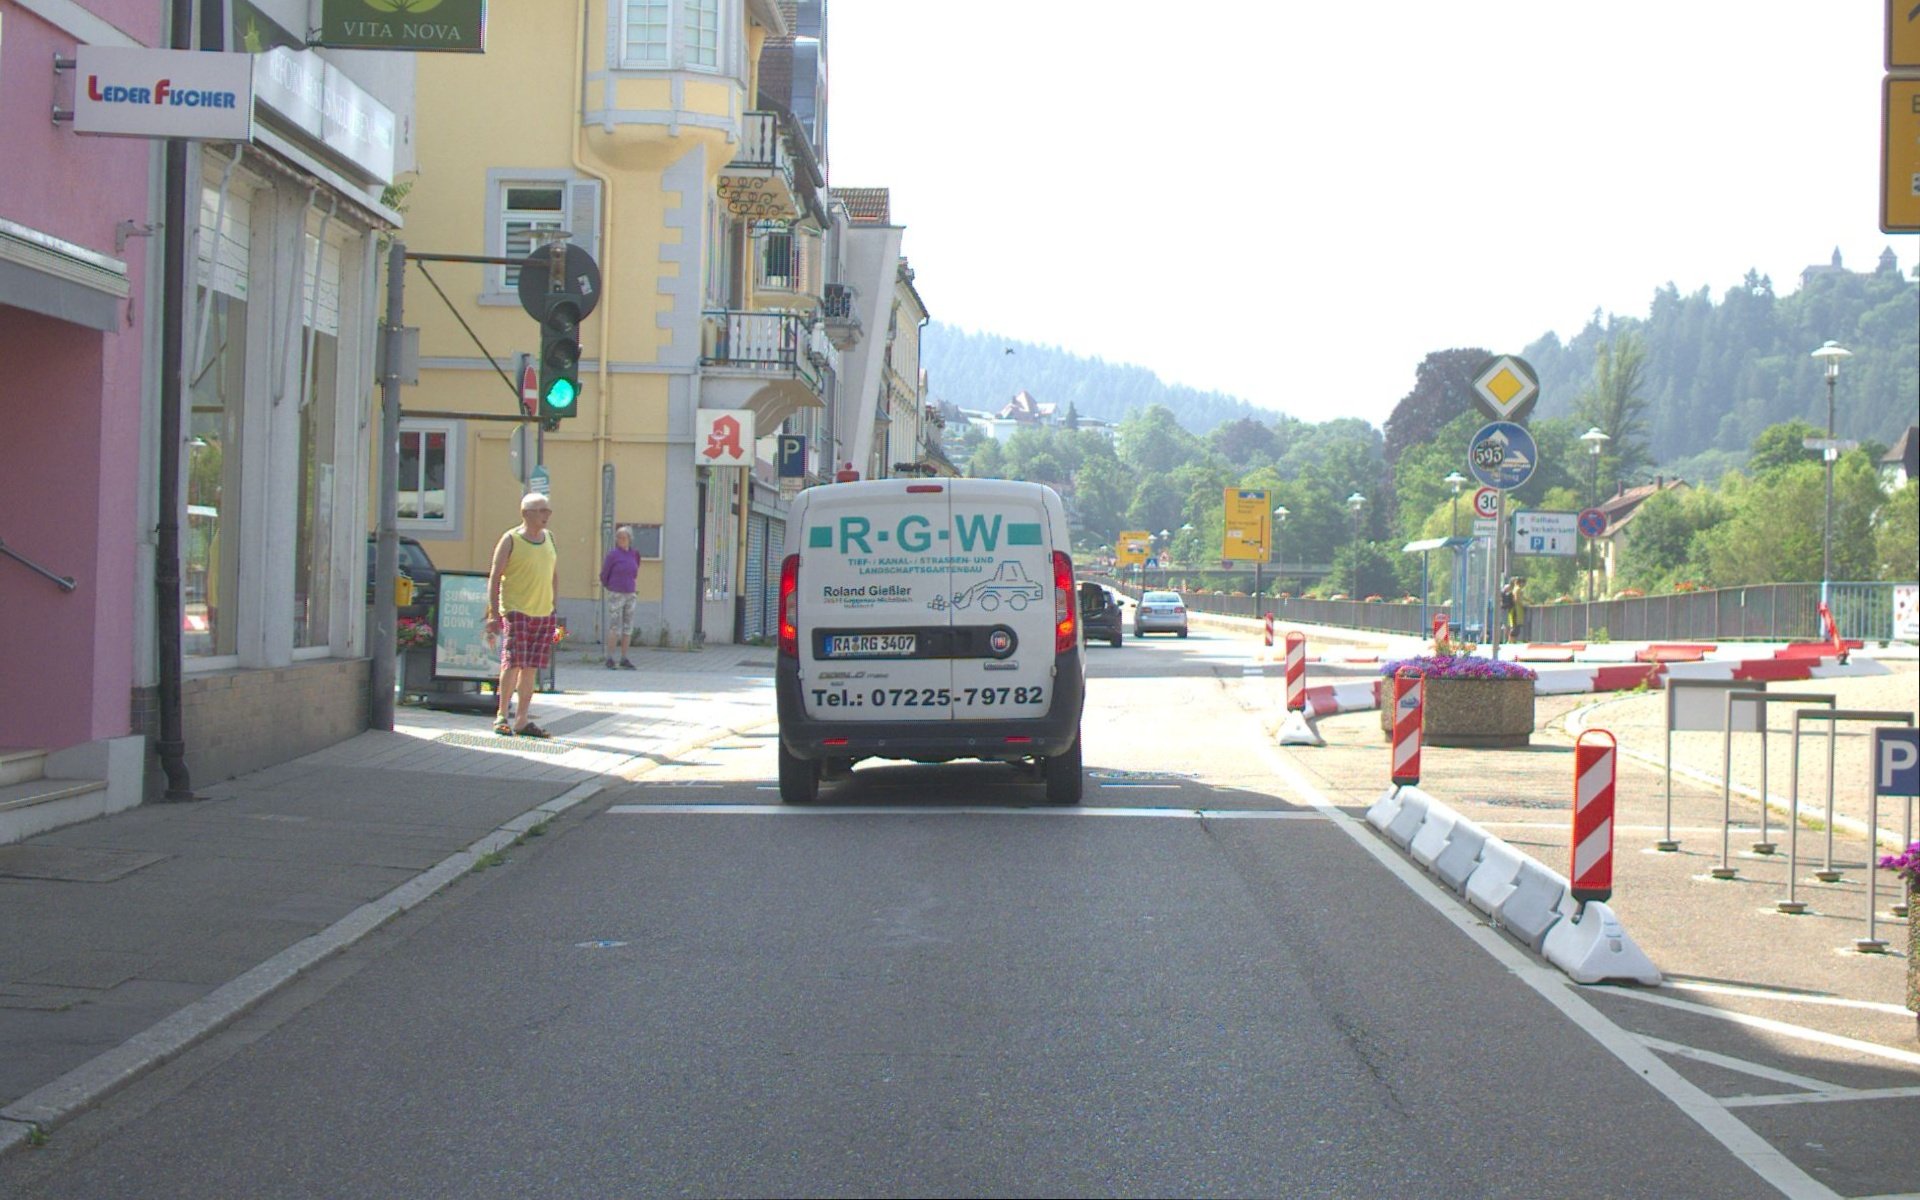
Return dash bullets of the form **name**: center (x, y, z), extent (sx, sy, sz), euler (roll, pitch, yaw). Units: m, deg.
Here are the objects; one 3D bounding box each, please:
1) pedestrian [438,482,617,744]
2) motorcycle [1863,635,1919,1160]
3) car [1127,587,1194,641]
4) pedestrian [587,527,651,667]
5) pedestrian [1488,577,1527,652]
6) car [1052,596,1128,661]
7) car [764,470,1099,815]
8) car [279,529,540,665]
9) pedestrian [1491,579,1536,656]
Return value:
- **pedestrian**: center (-3.210, 0.086, 25.424), extent (0.904, 1.809, 1.021), euler (6, 0, -21)
- **motorcycle**: center (3.429, 0.785, 9.181), extent (1.894, 1.353, 0.917), euler (1, 1, -34)
- **car**: center (6.473, 0.437, 111.369), extent (1.993, 1.656, 4.000), euler (2, 0, 2)
- **pedestrian**: center (-4.248, -0.045, 42.824), extent (0.678, 1.709, 0.617), euler (2, 1, 0)
- **pedestrian**: center (12.489, 0.329, 78.425), extent (0.789, 1.700, 0.491), euler (2, 0, 4)
- **car**: center (3.542, 0.752, 94.157), extent (1.993, 1.656, 4.000), euler (2, 0, 2)
- **car**: center (-0.122, 0.200, 21.112), extent (1.844, 1.899, 4.315), euler (0, 1, 1)
- **car**: center (-7.271, -0.057, 45.117), extent (1.917, 1.537, 3.959), euler (2, 2, -32)
- **pedestrian**: center (12.517, 0.389, 77.766), extent (0.867, 1.700, 0.777), euler (2, 0, 3)
